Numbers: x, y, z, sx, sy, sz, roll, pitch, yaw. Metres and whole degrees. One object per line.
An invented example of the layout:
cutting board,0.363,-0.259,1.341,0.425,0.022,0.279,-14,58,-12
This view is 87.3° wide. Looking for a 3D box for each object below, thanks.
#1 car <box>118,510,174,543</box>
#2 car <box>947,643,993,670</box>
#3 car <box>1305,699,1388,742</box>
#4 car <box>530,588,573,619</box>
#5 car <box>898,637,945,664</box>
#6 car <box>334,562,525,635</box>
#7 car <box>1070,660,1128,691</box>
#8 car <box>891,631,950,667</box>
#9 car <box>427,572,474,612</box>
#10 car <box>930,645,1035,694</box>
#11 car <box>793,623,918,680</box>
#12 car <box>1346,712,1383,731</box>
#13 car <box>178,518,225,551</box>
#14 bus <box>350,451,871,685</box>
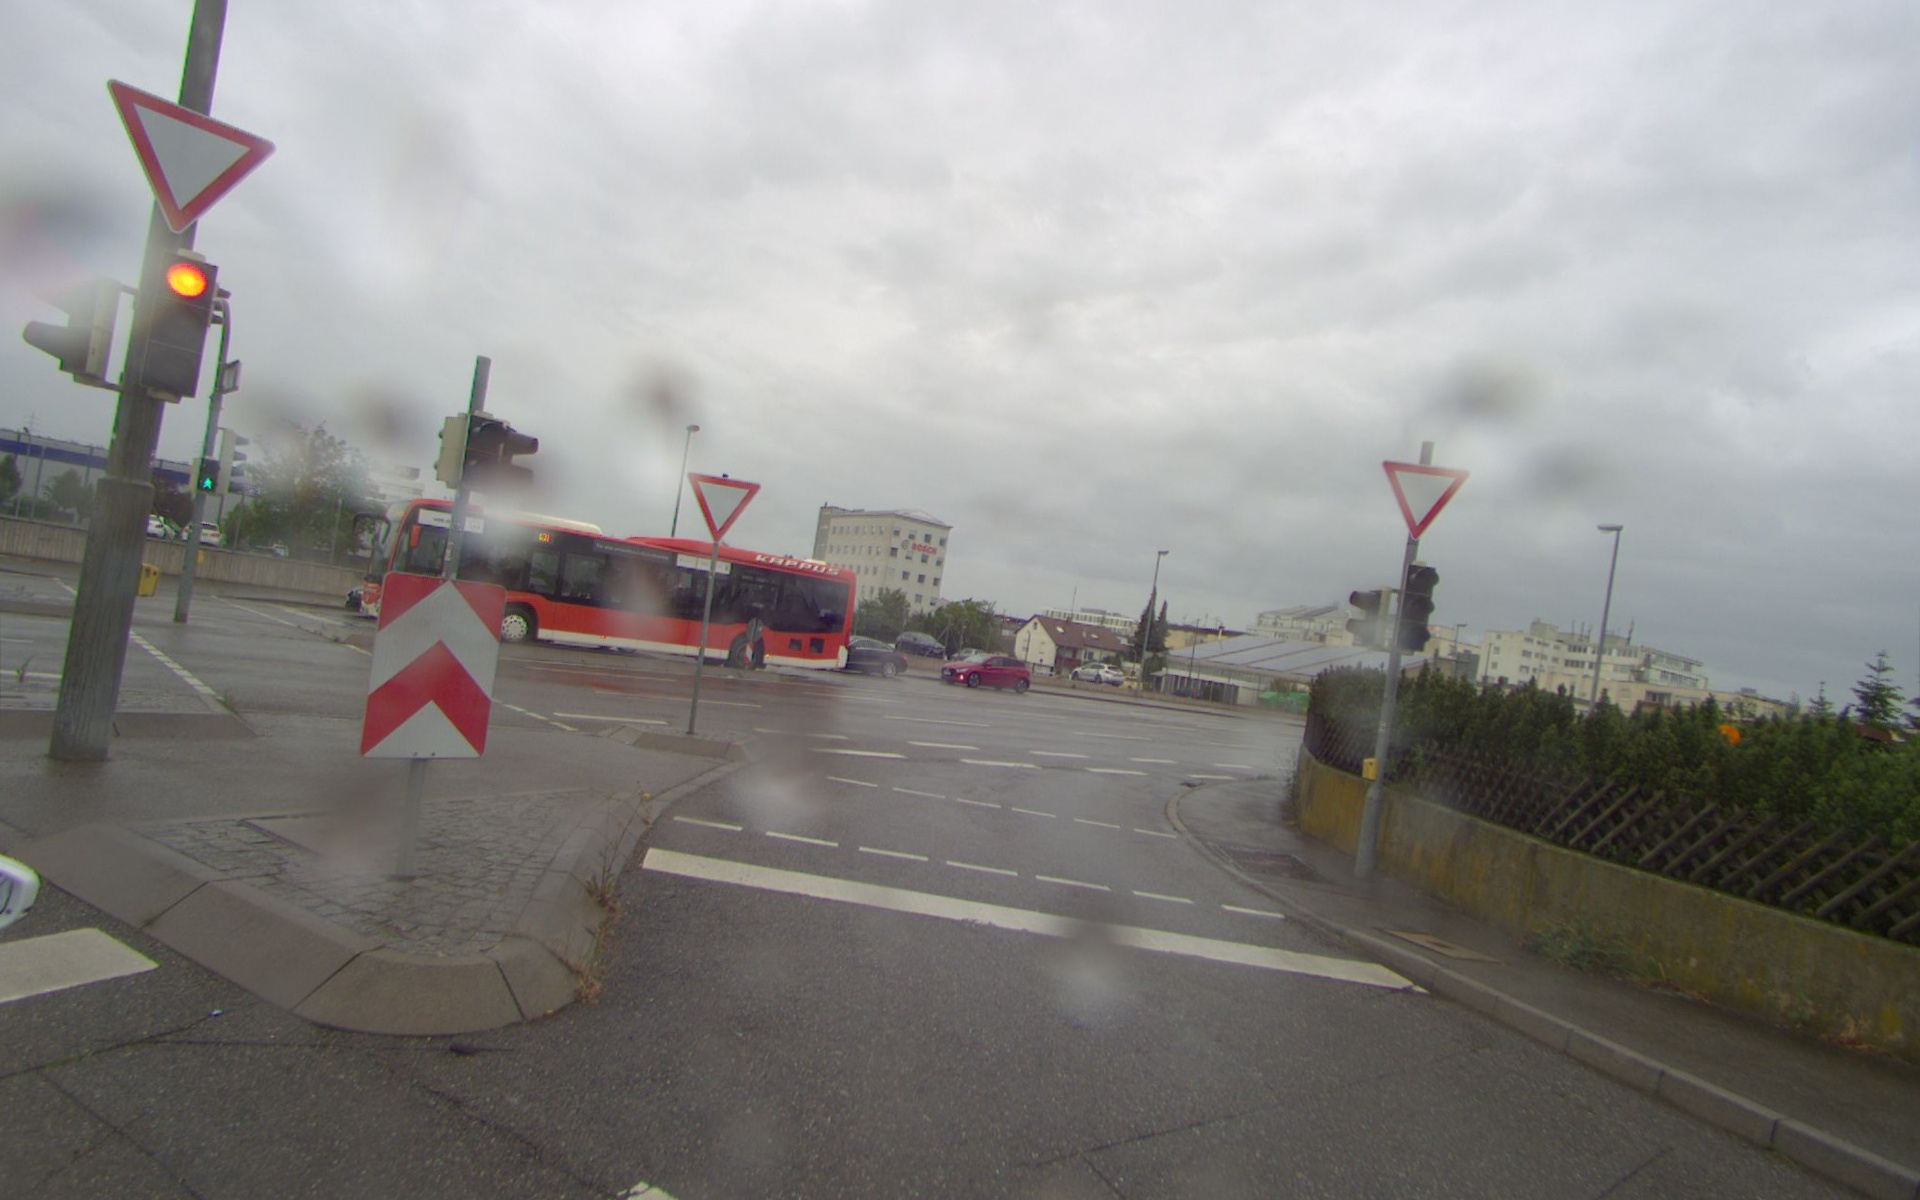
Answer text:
car,-45.624,-4.107,56.448,1.805,1.450,4.071,8,-2,-32
car,0.808,4.691,83.665,1.980,1.636,3.970,9,-2,-30
car,17.856,5.566,46.362,3.974,1.515,1.832,9,-3,-41
car,-32.110,0.275,79.018,1.983,2.037,3.962,8,-2,-36
car,-3.159,4.075,81.377,1.980,1.636,3.970,9,-2,-30
car,-14.833,-0.021,28.267,4.367,1.370,1.804,10,-3,-42
car,9.642,5.223,70.123,1.976,1.561,3.977,9,-2,-25
car,-2.476,2.997,61.712,1.912,1.684,3.869,9,-2,-29
car,-31.142,-0.513,61.426,1.734,2.037,3.786,8,-2,-37
car,0.972,2.907,42.072,3.948,1.525,1.853,9,-2,-36
car,-3.912,1.980,38.203,4.367,1.555,1.804,10,-3,-42
car,41.163,12.328,102.407,3.616,1.436,1.720,10,-2,-36
car,-43.837,-3.754,58.216,1.847,1.543,4.066,8,-2,-35
bus,-8.249,-0.419,25.978,12.223,3.614,2.952,12,-4,-41
